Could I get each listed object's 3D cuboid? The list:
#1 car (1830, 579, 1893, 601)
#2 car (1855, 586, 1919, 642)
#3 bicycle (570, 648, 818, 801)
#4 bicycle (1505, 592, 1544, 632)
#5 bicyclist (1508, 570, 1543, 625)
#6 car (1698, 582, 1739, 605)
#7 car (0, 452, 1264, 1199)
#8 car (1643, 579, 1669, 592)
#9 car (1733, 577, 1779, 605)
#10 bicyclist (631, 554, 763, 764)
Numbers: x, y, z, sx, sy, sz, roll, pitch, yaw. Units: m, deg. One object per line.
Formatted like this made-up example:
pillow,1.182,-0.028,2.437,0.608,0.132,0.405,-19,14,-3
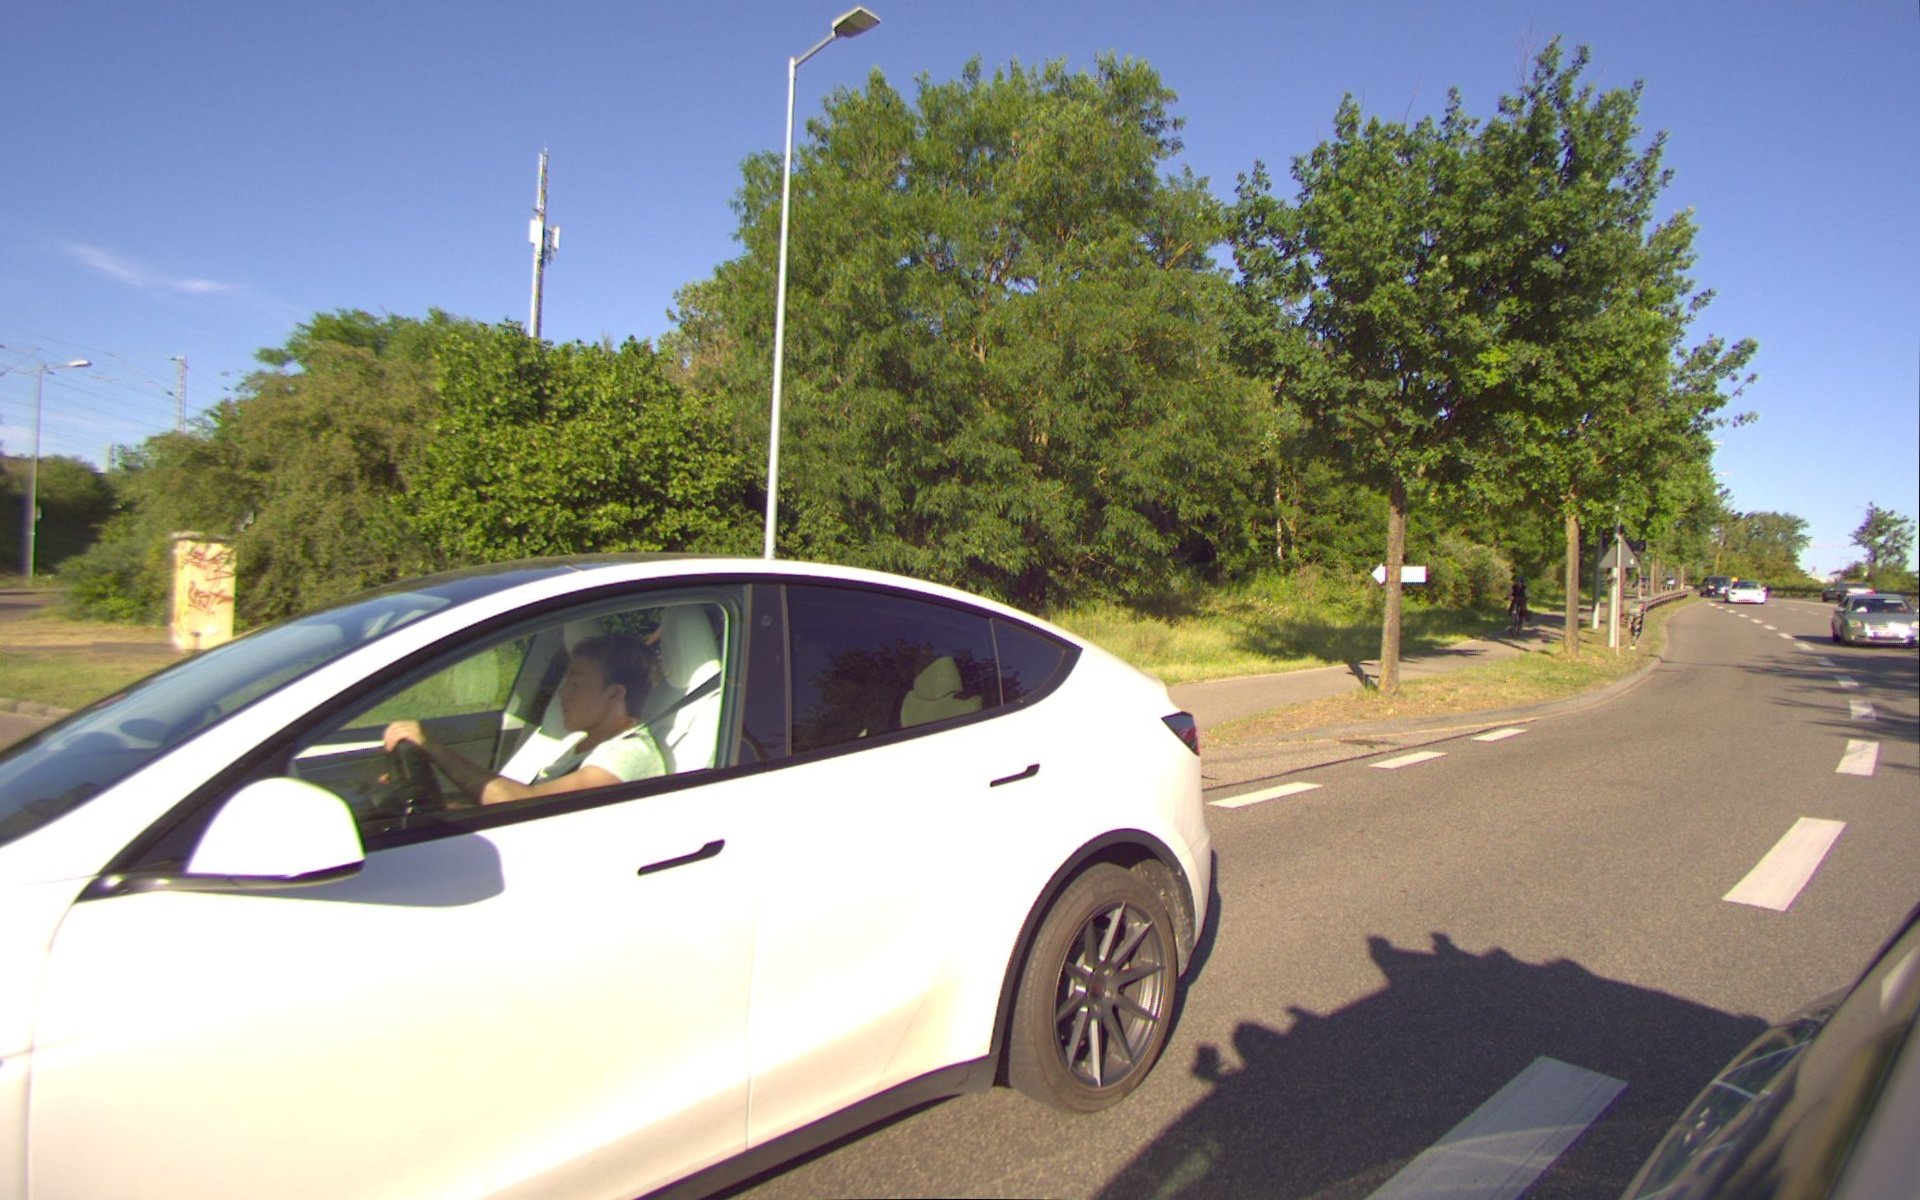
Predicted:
car,59.396,-0.692,66.775,1.716,1.403,4.462,0,1,23
car,26.566,0.353,28.697,1.678,1.459,3.799,2,2,43
bicycle,-2.361,1.058,9.180,2.082,1.108,0.696,0,3,-44
bicycle,16.859,0.344,30.208,0.699,1.087,1.896,4,3,37
bicyclist,16.887,-0.081,30.209,0.706,1.597,0.991,4,3,37
car,58.698,-0.503,78.395,1.983,1.738,4.226,1,0,30
car,-1.221,0.617,2.707,4.334,1.661,1.917,0,1,-42
car,85.867,-1.811,124.908,1.747,1.507,4.246,0,1,22
car,50.516,-0.592,64.268,2.141,1.586,4.141,5,4,38
bicyclist,-2.419,0.500,9.322,0.932,1.798,0.676,0,3,-43
